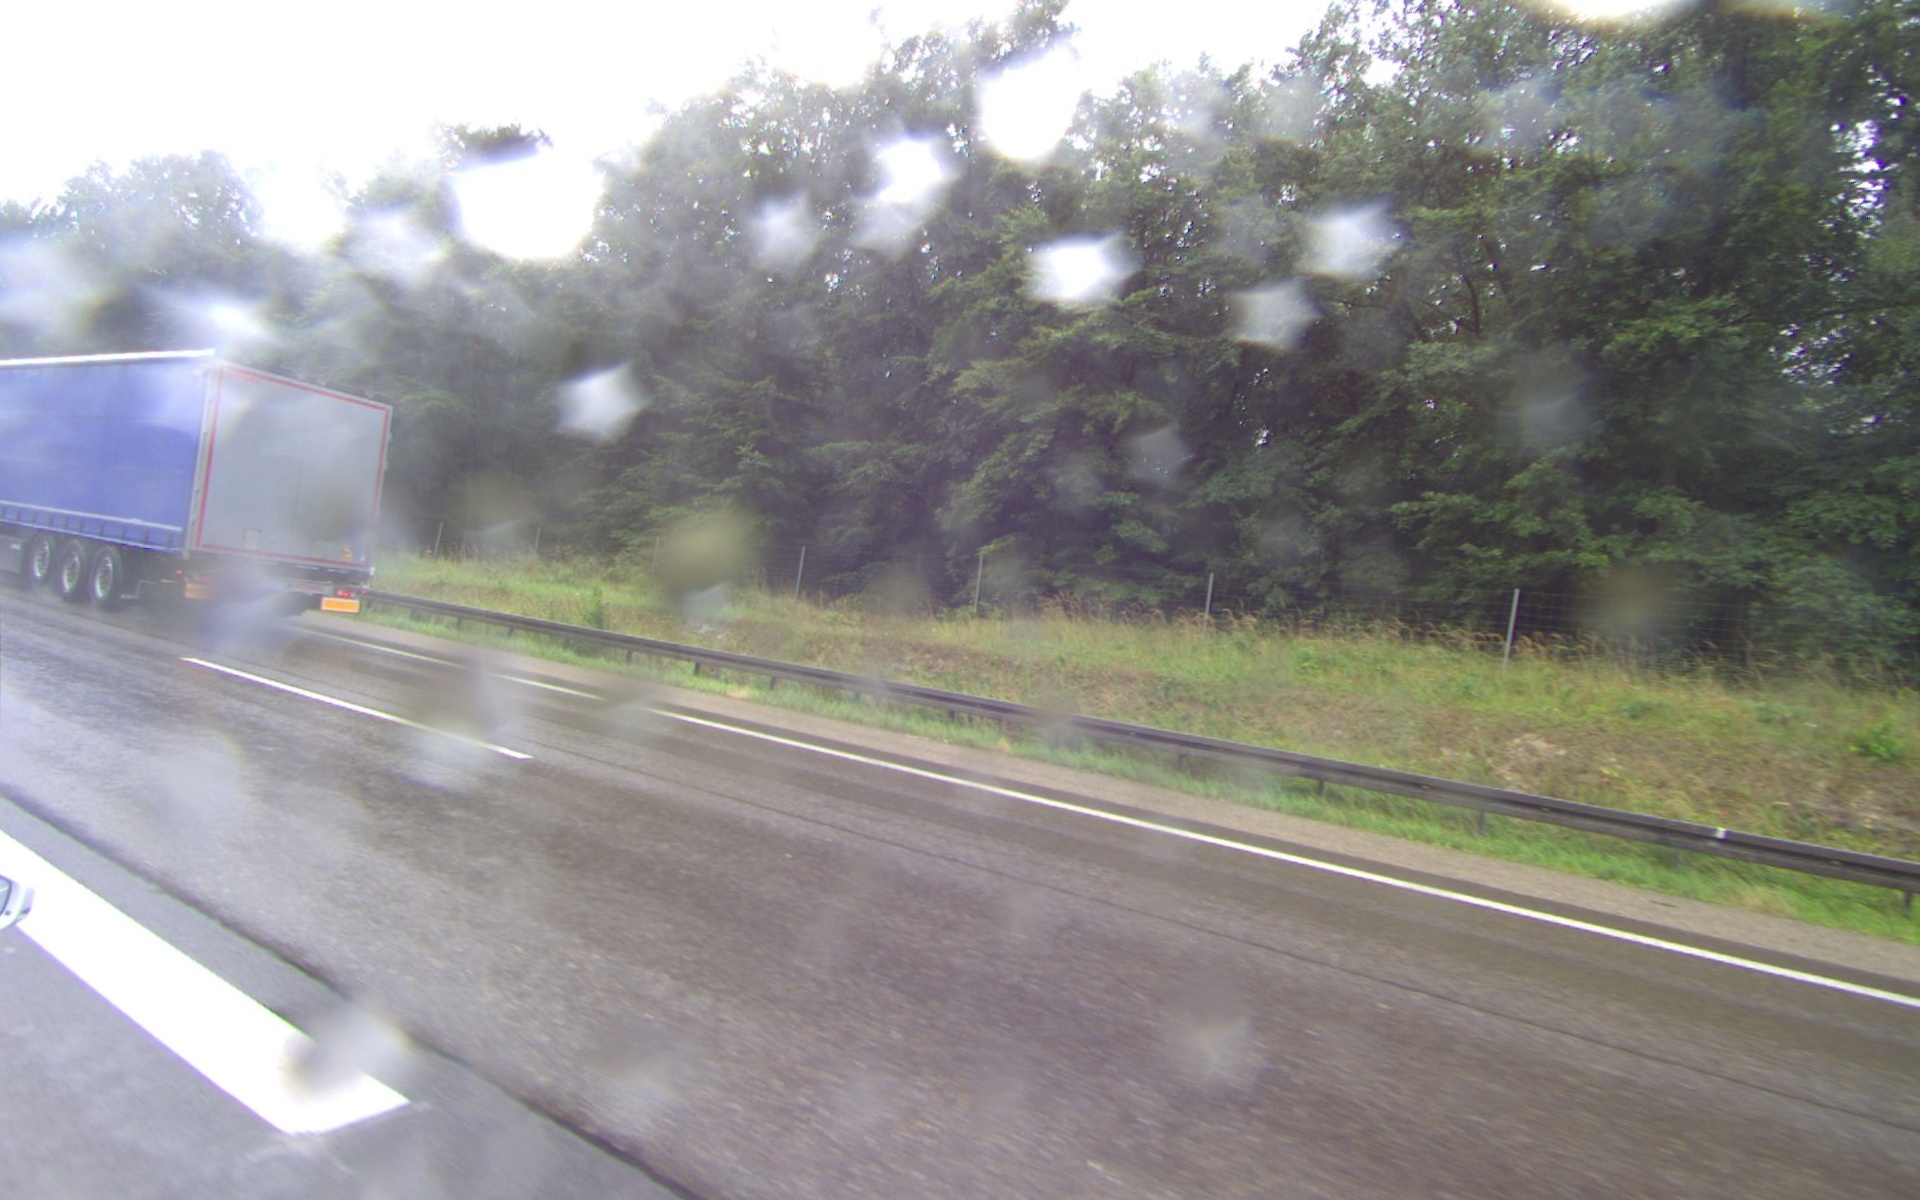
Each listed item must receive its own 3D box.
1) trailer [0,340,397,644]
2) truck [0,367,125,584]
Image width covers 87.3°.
[{"bbox_3d":[-15.623,-2.116,18.428,13.485,4.060,2.559,7,-1,31],"label":"trailer"},{"bbox_3d":[-21.215,-2.769,21.812,5.912,4.060,2.607,7,-1,31],"label":"truck"}]
